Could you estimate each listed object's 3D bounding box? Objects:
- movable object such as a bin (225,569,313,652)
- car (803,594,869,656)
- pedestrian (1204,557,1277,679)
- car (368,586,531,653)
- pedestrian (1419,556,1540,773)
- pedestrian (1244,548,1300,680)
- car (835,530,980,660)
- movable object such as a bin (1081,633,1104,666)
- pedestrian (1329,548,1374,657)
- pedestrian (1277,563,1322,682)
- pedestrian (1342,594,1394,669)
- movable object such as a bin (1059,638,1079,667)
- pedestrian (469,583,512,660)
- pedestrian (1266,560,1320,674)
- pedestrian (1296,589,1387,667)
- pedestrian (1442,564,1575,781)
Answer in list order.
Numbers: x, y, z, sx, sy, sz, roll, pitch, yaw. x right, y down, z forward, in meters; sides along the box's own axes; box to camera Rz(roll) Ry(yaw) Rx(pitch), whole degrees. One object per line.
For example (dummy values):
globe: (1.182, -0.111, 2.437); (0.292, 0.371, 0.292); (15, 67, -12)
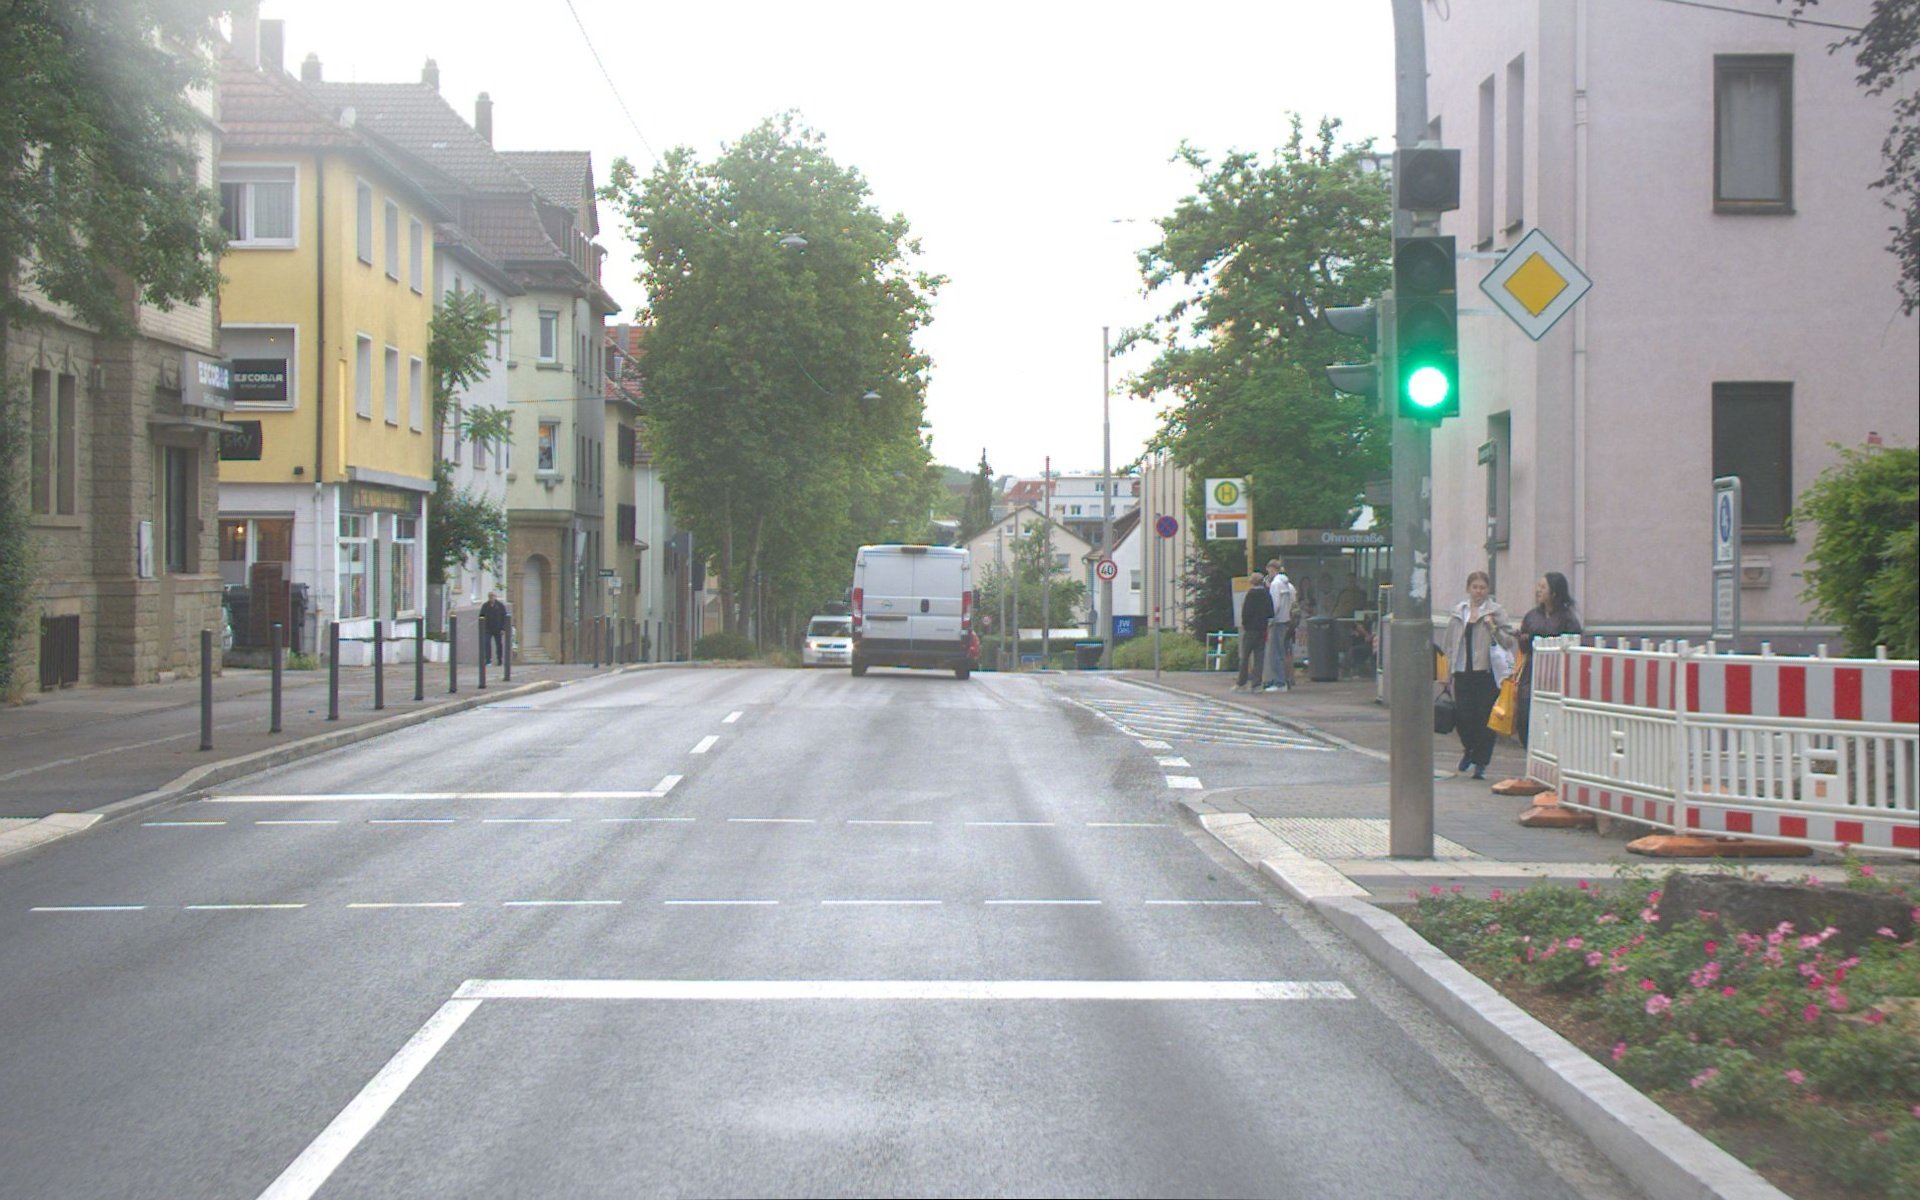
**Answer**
movable object such as a bin: (-11.905, 0.179, 59.294); (1.301, 1.397, 0.983); (1, 0, -1)
car: (-3.754, 0.773, 104.883); (1.882, 1.863, 4.453); (0, -1, 0)
pedestrian: (3.974, 0.256, 48.700); (0.634, 1.704, 0.749); (-2, 0, -34)
car: (-14.272, 0.548, 96.289); (4.182, 1.582, 2.000); (4, -1, 0)
pedestrian: (4.055, 0.491, 26.896); (0.784, 1.636, 1.222); (2, 0, 3)
pedestrian: (4.471, 0.196, 49.194); (0.487, 1.869, 0.631); (-2, 0, 34)
car: (-0.964, -0.100, 59.729); (2.346, 2.153, 4.778); (0, 1, -3)
movable object such as a bin: (4.388, 1.636, 113.711); (0.695, 1.078, 0.778); (-2, -1, 0)
pedestrian: (6.663, 0.043, 58.507); (0.647, 1.825, 0.741); (-1, 0, 13)
pedestrian: (4.927, 0.323, 49.934); (0.447, 1.702, 0.556); (-2, 0, 23)
pedestrian: (6.586, 0.502, 55.529); (0.660, 1.195, 0.742); (-1, 0, -6)
movable object such as a bin: (3.605, 1.732, 113.547); (0.619, 0.933, 0.686); (-2, -1, 0)
pedestrian: (-10.416, 0.487, 76.283); (0.815, 1.674, 0.993); (2, -1, -3)
pedestrian: (5.123, 0.262, 52.884); (0.660, 1.735, 0.829); (-1, 0, -6)
pedestrian: (6.331, 0.468, 57.062); (1.355, 1.269, 0.742); (-1, 0, -6)
pedestrian: (4.095, 0.531, 25.629); (0.875, 1.555, 1.048); (2, 0, 13)
